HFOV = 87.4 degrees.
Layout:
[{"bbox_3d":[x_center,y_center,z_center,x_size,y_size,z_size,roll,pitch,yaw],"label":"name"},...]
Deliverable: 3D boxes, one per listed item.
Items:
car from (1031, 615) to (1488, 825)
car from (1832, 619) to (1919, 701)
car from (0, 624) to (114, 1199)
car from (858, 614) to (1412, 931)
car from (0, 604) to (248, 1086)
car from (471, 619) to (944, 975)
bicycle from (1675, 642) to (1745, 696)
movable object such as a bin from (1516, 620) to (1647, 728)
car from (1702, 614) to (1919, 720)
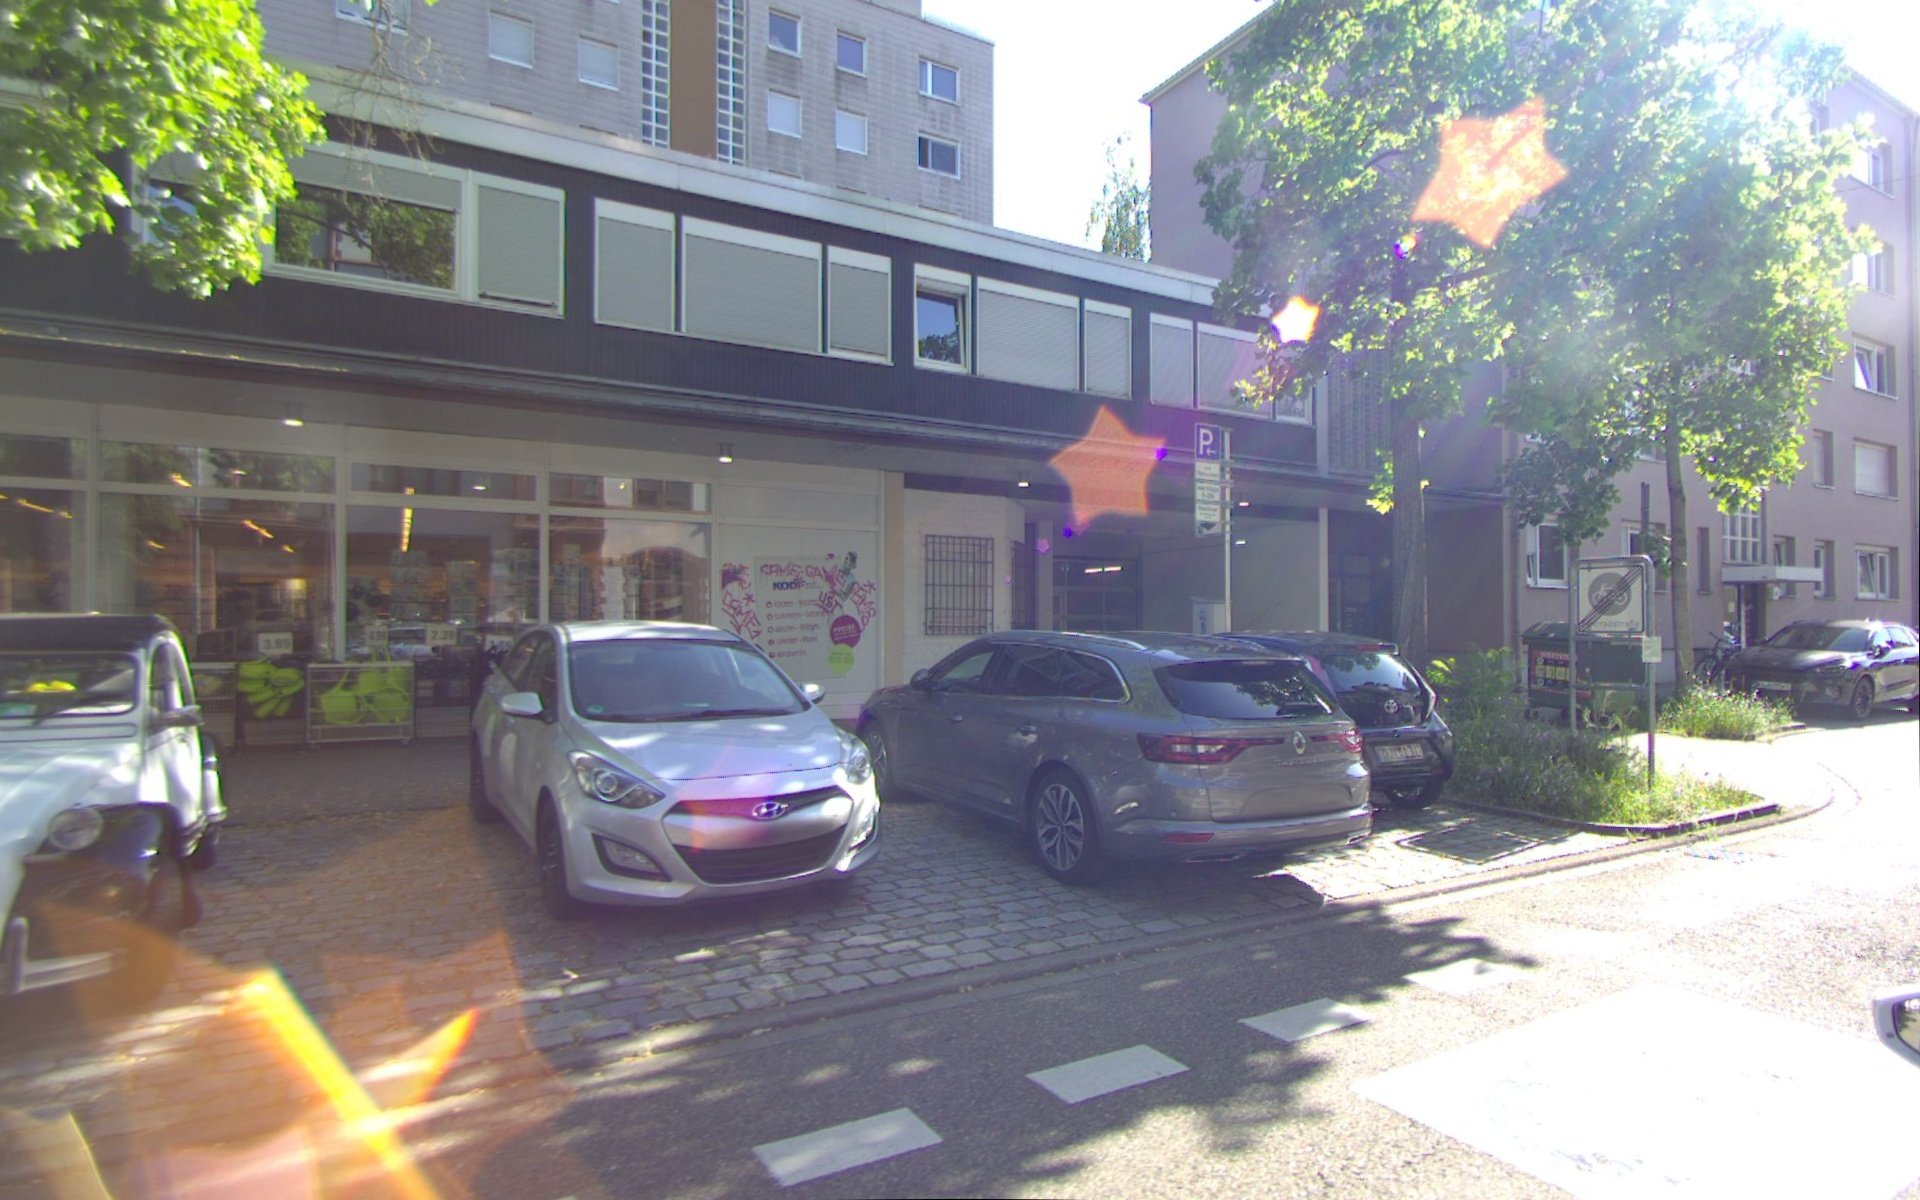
[{"bbox_3d":[2.507,0.906,9.540,1.624,1.452,4.287,1,0,-28],"label":"car"},{"bbox_3d":[20.138,1.207,20.630,4.176,1.517,1.985,1,2,-29],"label":"car"},{"bbox_3d":[-3.544,0.741,0.936,3.913,1.457,1.755,1,-3,-30],"label":"car"},{"bbox_3d":[0.855,0.893,7.300,1.740,1.479,4.289,1,0,-27],"label":"car"},{"bbox_3d":[-4.373,0.815,4.648,1.667,1.572,3.575,1,-1,-34],"label":"car"},{"bbox_3d":[-1.915,0.900,6.528,1.793,1.483,3.963,1,0,-33],"label":"car"},{"bbox_3d":[16.500,1.507,22.085,1.881,1.116,0.552,1,-1,-31],"label":"bicycle"},{"bbox_3d":[8.909,1.029,14.439,1.060,1.469,1.228,1,-1,-22],"label":"movable object such as a bin"},{"bbox_3d":[15.274,1.104,17.750,4.312,1.627,1.868,1,0,-30],"label":"car"}]
